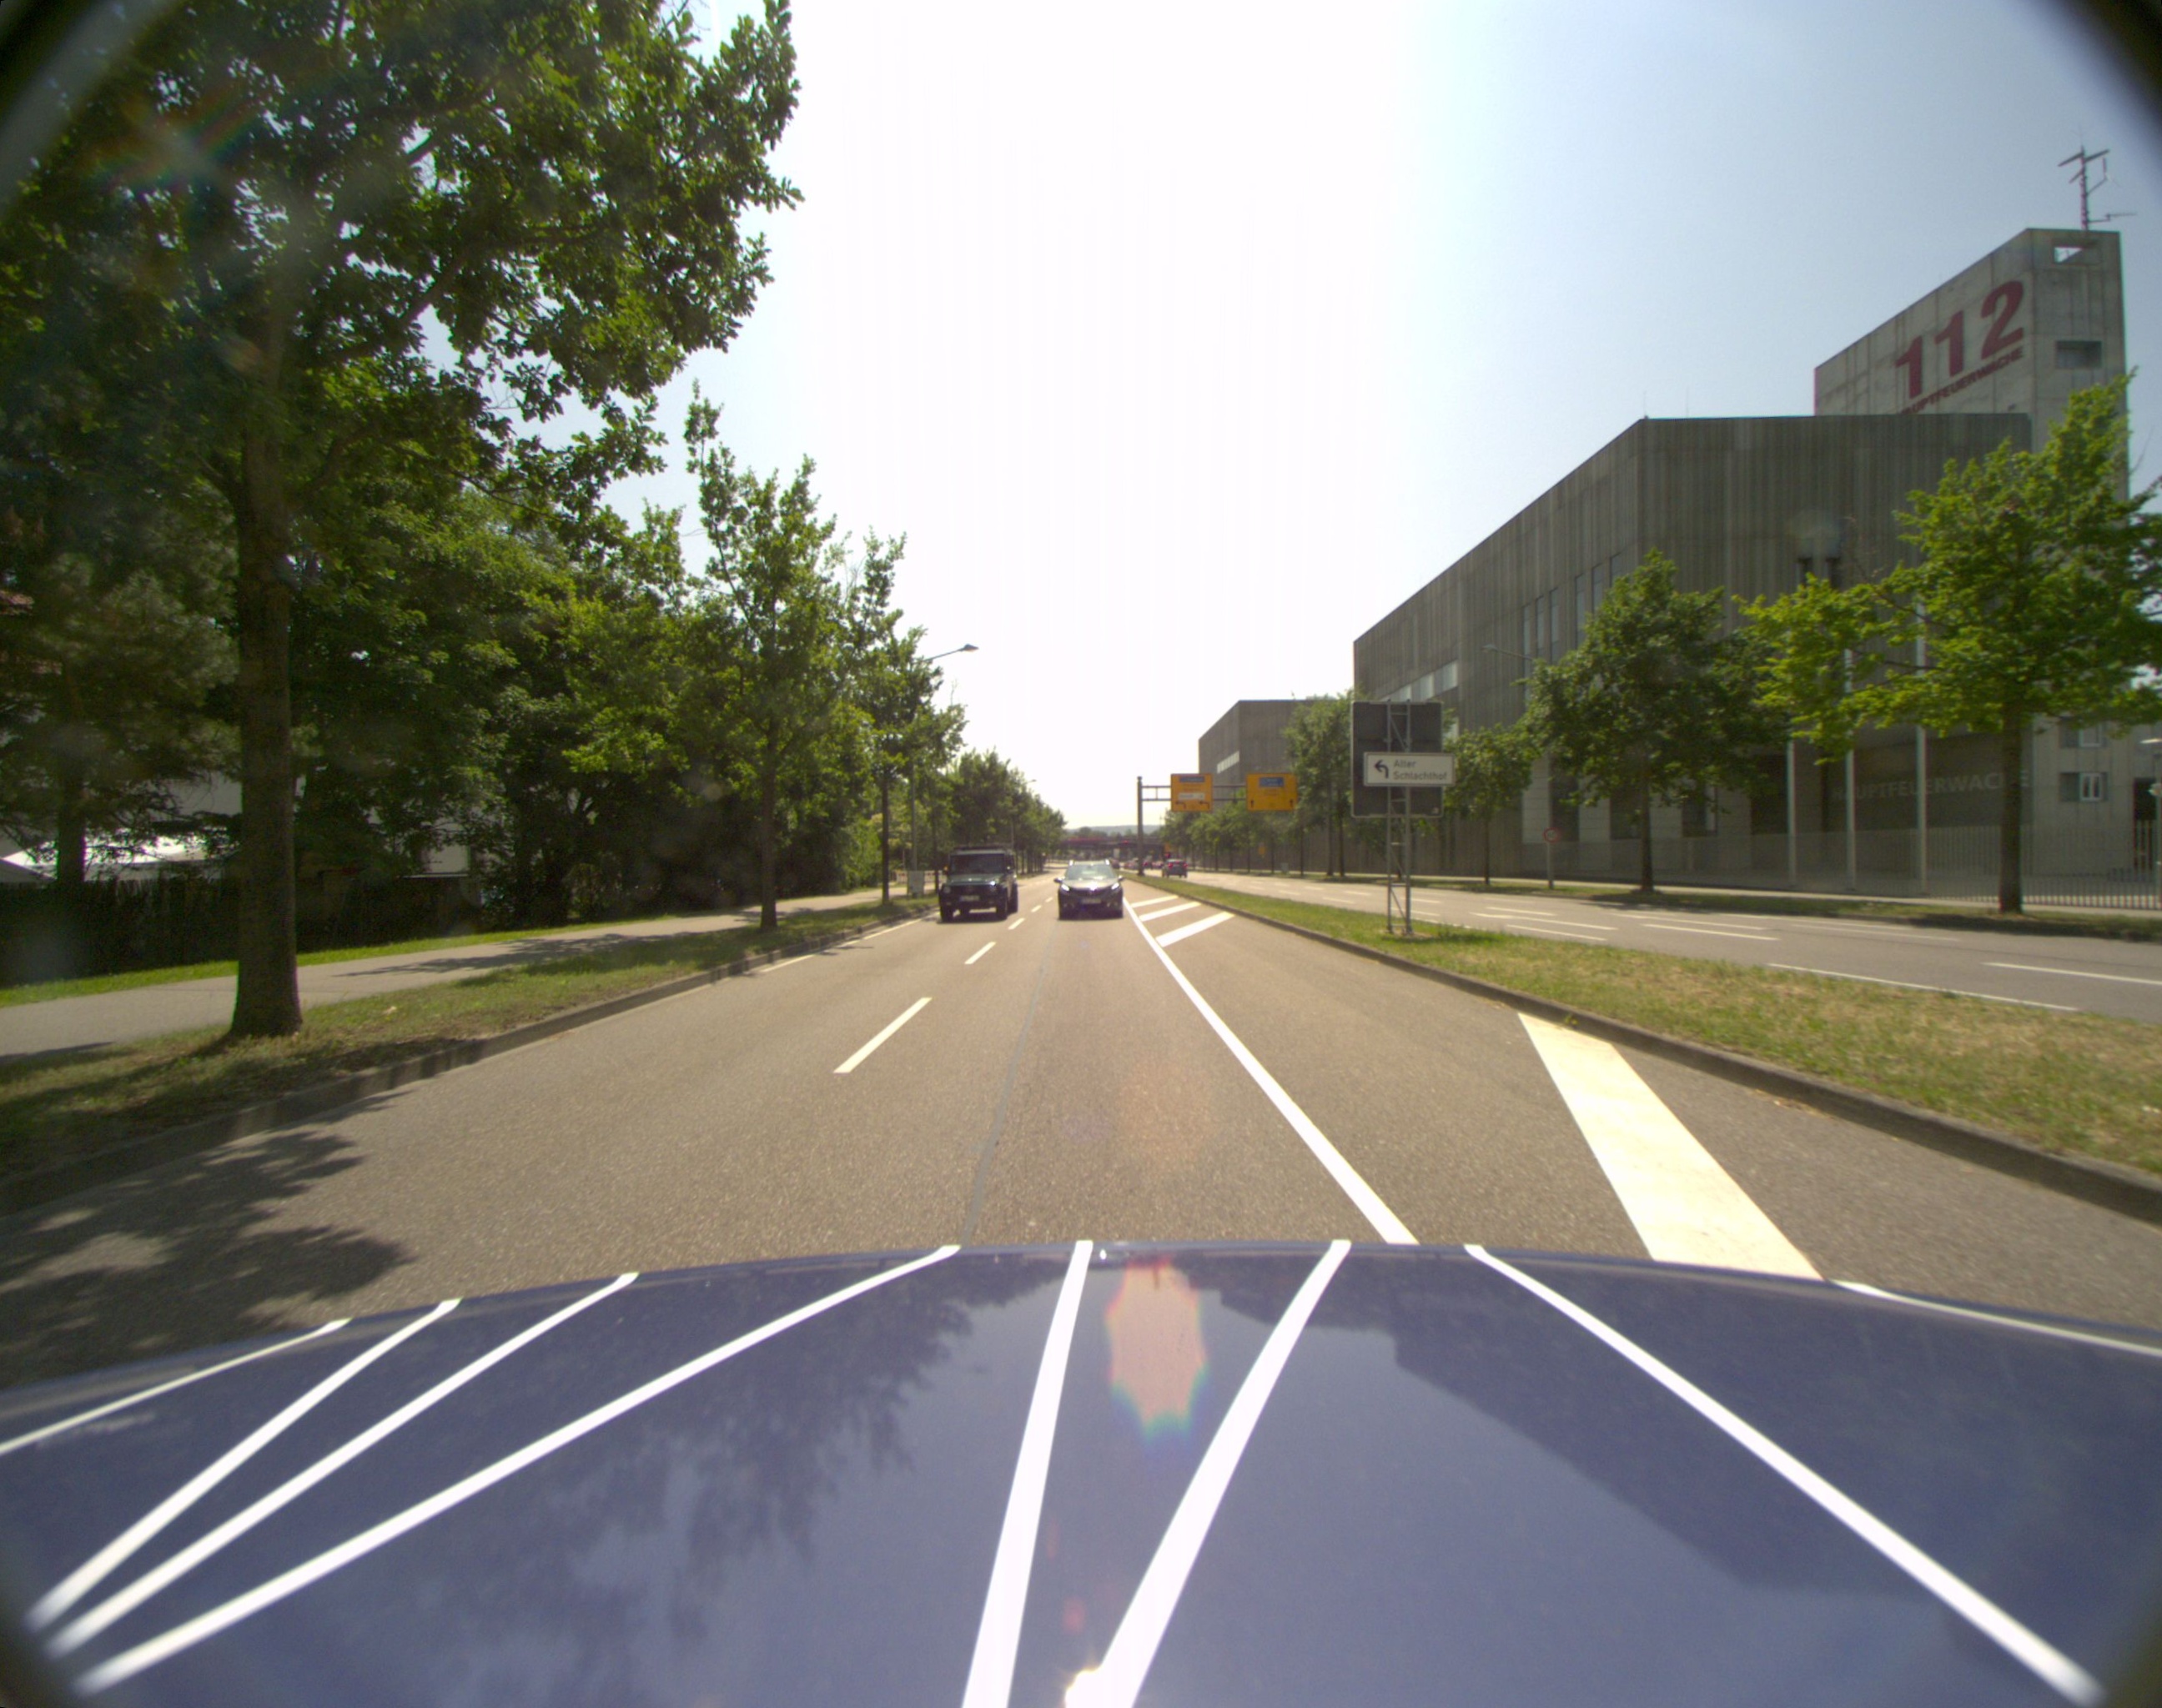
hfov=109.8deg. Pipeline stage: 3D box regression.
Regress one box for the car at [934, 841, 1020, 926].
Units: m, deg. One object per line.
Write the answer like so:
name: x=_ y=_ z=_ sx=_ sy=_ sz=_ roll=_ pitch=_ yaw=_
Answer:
car: x=-2.853 y=0.751 z=21.831 sx=1.841 sy=2.141 sz=4.557 roll=-1 pitch=0 yaw=-1

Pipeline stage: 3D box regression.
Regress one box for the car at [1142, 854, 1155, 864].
car: x=12.833 y=0.920 z=143.934 sx=1.815 sy=1.736 sz=4.645 roll=-1 pitch=0 yaw=-2

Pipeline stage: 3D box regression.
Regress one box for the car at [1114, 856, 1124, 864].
car: x=7.214 y=1.132 z=144.491 sx=1.815 sy=1.458 sz=4.057 roll=0 pitch=0 yaw=0

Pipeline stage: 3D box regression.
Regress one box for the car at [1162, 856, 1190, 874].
car: x=7.974 y=0.884 z=64.063 sx=1.712 sy=1.463 sz=3.940 roll=0 pitch=0 yaw=-2

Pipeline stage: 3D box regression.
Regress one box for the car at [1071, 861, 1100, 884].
car: x=0.268 y=1.204 z=50.731 sx=1.817 sy=1.456 sz=4.000 roll=-1 pitch=0 yaw=0

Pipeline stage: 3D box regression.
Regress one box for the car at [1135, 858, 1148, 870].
car: x=10.127 y=1.696 z=127.699 sx=1.914 sy=1.981 sz=4.898 roll=0 pitch=0 yaw=0

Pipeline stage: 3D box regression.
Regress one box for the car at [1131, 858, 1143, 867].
car: x=9.838 y=1.482 z=134.544 sx=1.770 sy=1.452 sz=4.145 roll=0 pitch=0 yaw=-1

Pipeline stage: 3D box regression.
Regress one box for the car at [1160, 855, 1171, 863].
car: x=16.102 y=0.984 z=145.208 sx=1.625 sy=1.447 sz=4.017 roll=-1 pitch=0 yaw=0

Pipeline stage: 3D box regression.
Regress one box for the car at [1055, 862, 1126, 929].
car: x=0.318 y=1.014 z=20.262 sx=1.619 sy=1.502 sz=4.459 roll=-3 pitch=-1 yaw=2

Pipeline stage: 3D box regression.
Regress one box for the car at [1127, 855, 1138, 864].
car: x=9.758 y=1.006 z=143.782 sx=1.807 sy=1.653 sz=4.573 roll=0 pitch=0 yaw=2
